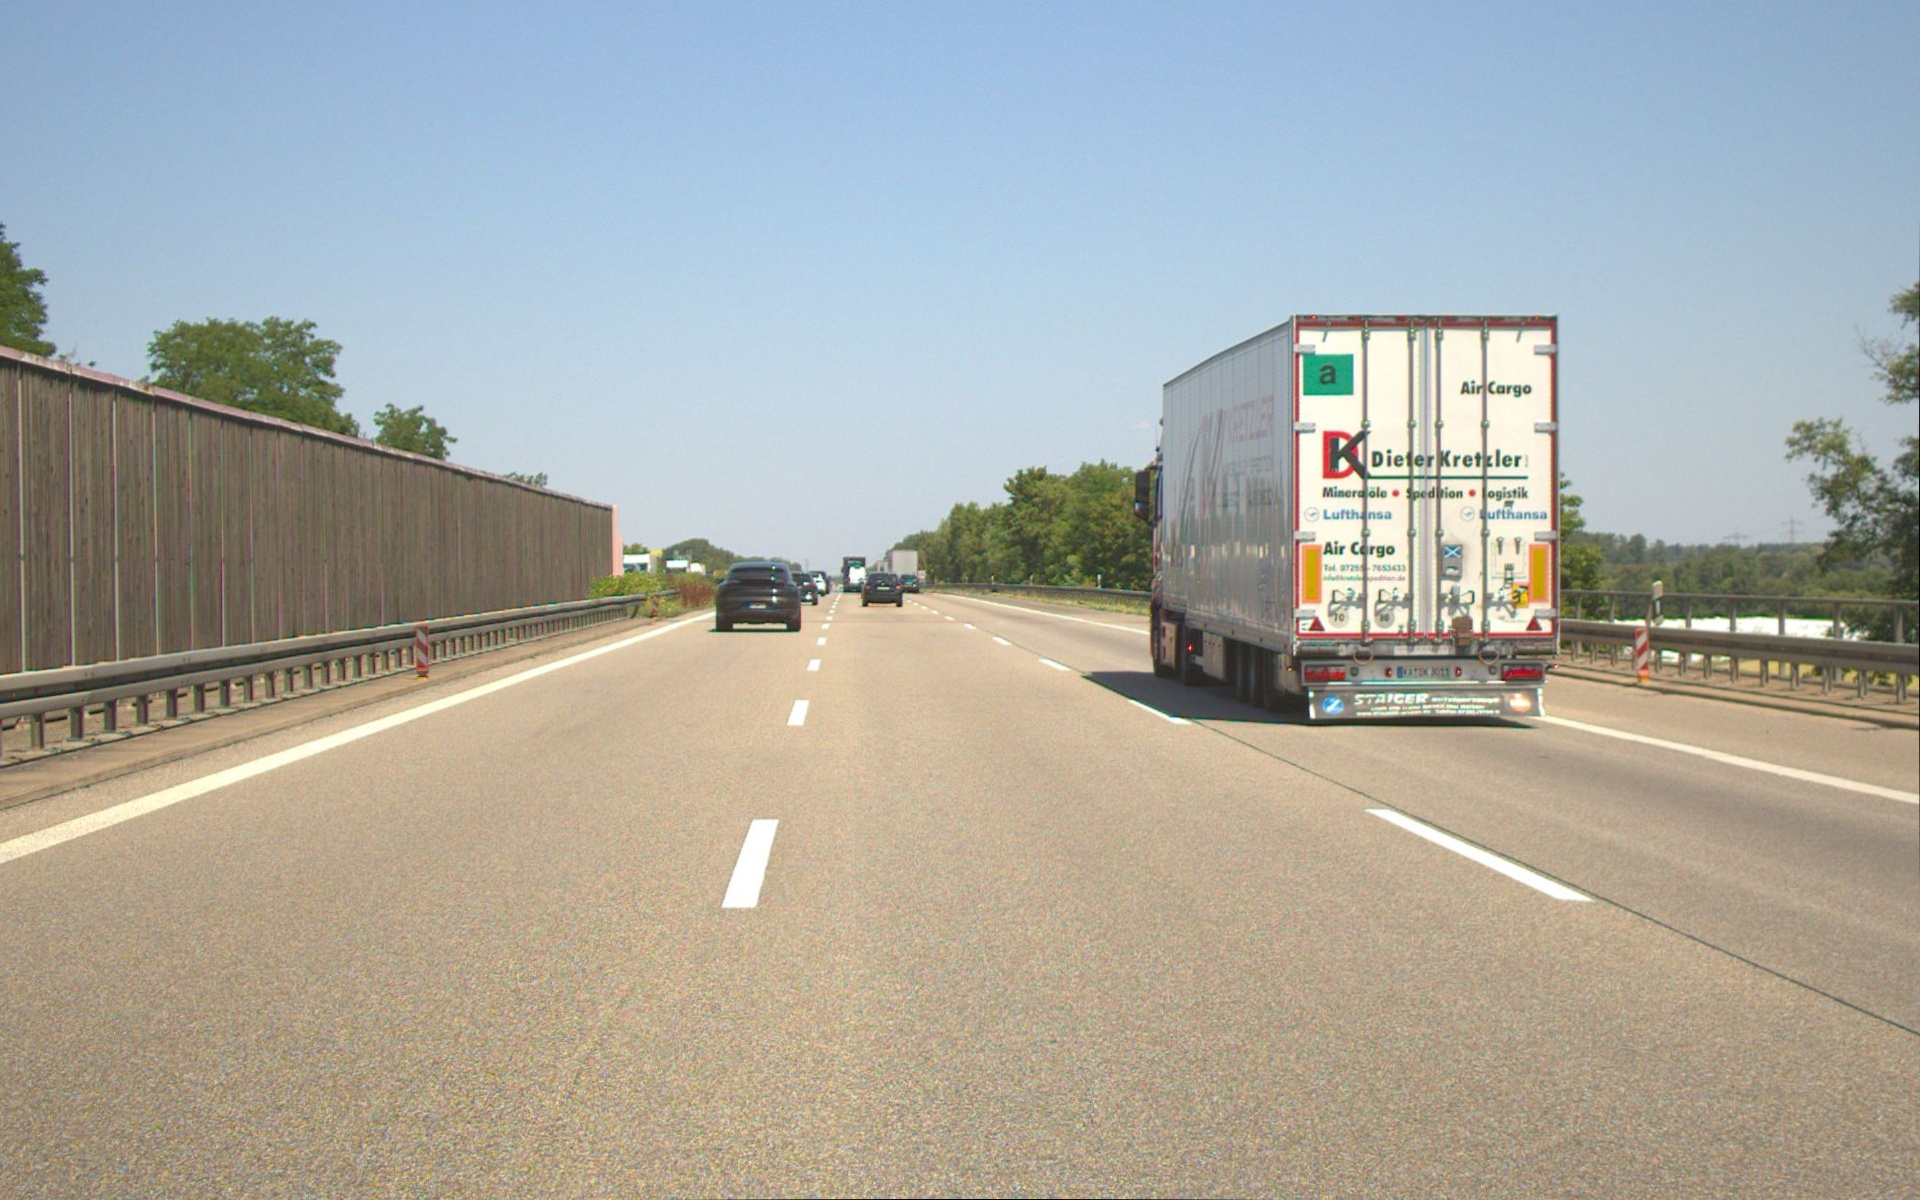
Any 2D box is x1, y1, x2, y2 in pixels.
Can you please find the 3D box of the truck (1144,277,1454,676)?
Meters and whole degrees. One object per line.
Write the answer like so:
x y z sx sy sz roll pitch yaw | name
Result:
4.360 -1.580 45.792 3.234 4.872 6.972 1 1 -1 | truck

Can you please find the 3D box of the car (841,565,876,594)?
-5.695 -1.125 193.642 1.903 1.578 4.304 -1 0 -1 | car

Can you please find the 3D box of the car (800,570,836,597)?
-8.865 -1.000 215.098 2.128 1.640 4.304 -1 0 -1 | car

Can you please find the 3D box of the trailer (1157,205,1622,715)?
4.507 -1.451 39.848 3.269 4.821 14.030 1 1 -1 | trailer

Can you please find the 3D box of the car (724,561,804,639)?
-4.705 -0.015 82.654 1.880 1.786 4.001 0 1 -3 | car

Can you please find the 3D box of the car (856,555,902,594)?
-3.404 -1.055 145.109 1.903 1.578 4.304 -1 0 -1 | car

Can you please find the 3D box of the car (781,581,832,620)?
-6.680 0.033 149.745 2.128 1.640 4.304 -1 0 -1 | car
